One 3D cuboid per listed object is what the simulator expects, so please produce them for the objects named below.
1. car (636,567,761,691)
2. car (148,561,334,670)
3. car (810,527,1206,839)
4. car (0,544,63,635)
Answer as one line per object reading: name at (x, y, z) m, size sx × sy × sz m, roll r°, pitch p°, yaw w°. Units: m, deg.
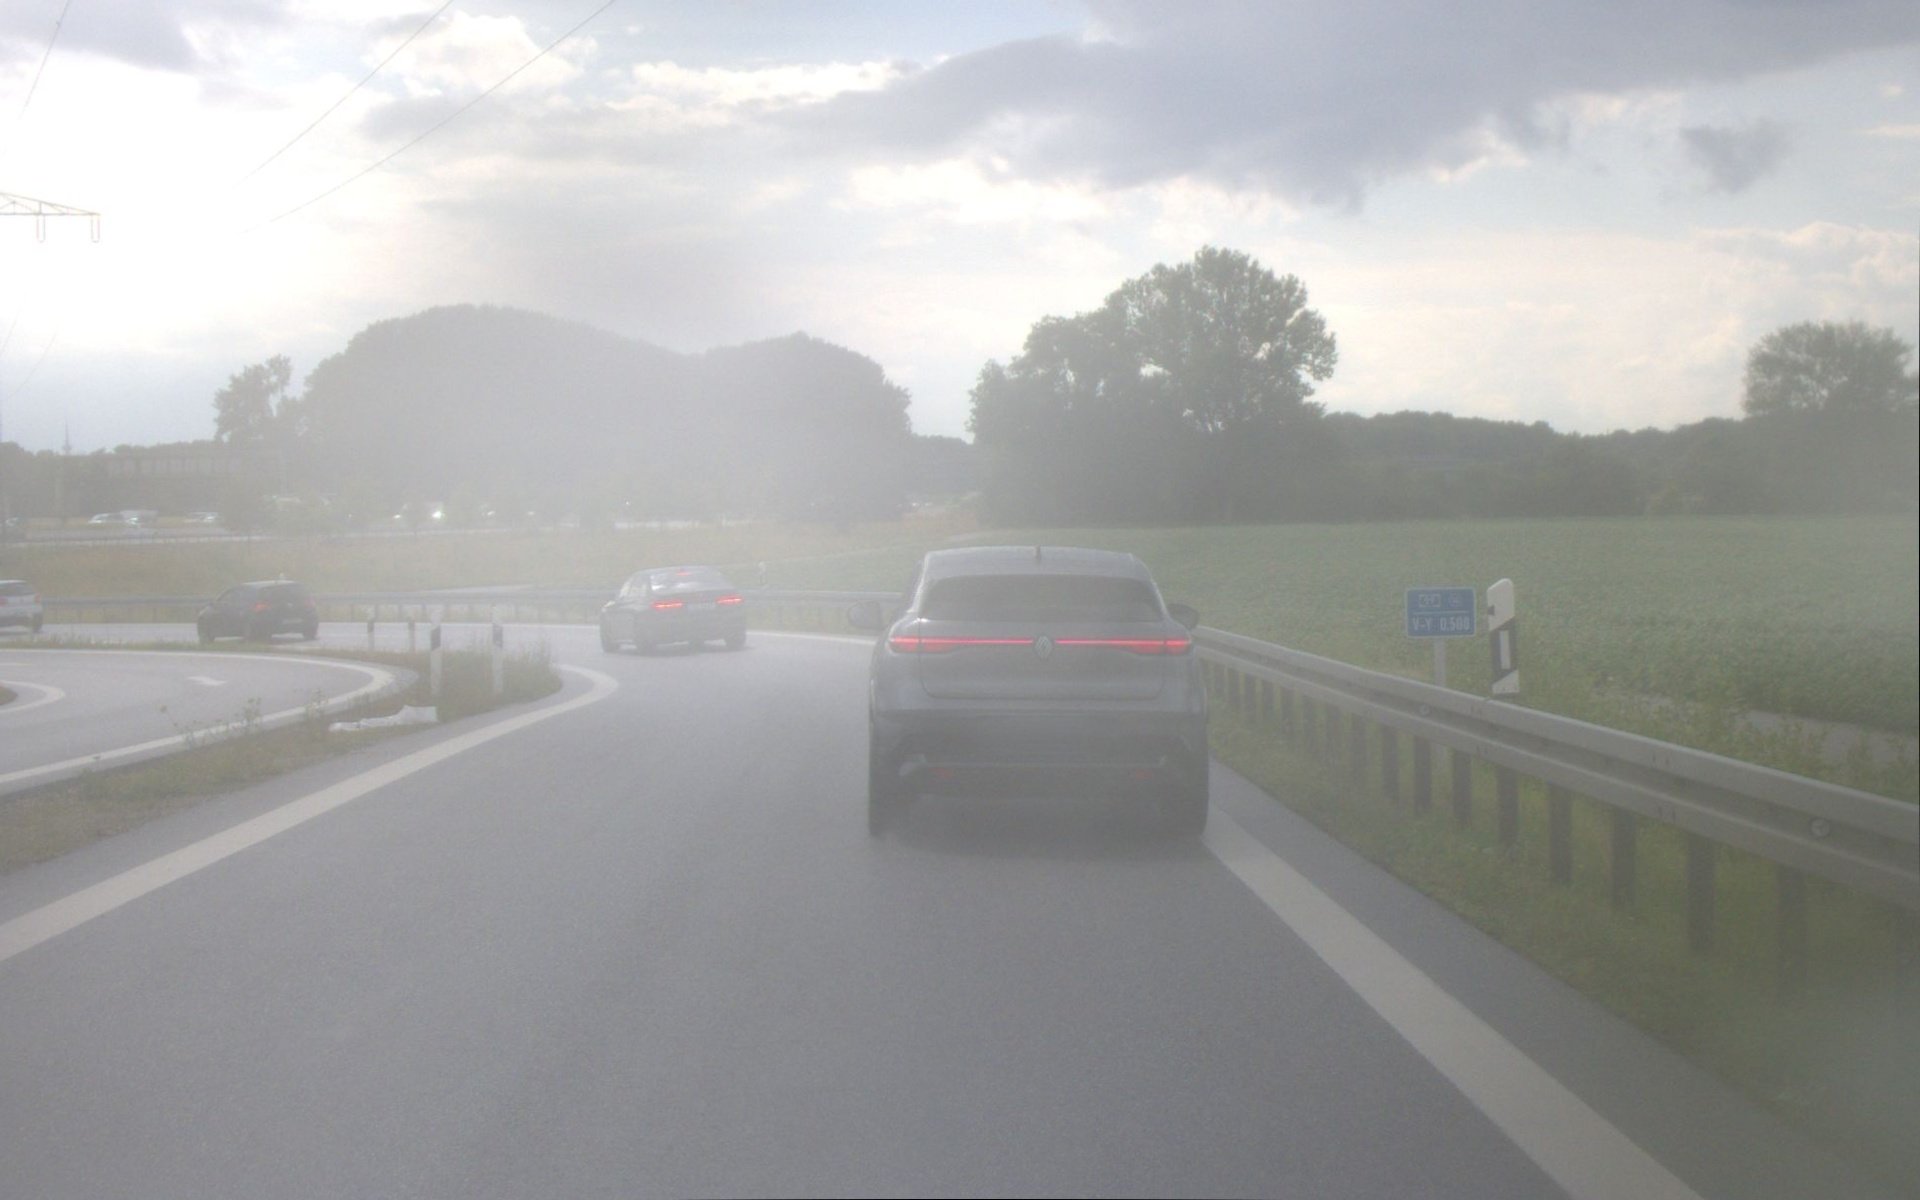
car at (-4.740, 0.479, 62.364) m, size 2.121 × 2.011 × 5.535 m, roll -1°, pitch 2°, yaw -4°
car at (-17.529, 0.339, 83.695) m, size 2.352 × 2.299 × 5.127 m, roll -3°, pitch 4°, yaw -38°
car at (0.289, 0.378, 19.508) m, size 1.993 × 1.561 × 4.149 m, roll 1°, pitch 1°, yaw 1°
car at (-27.370, -0.325, 96.487) m, size 2.352 × 2.299 × 5.127 m, roll -3°, pitch 4°, yaw -38°
